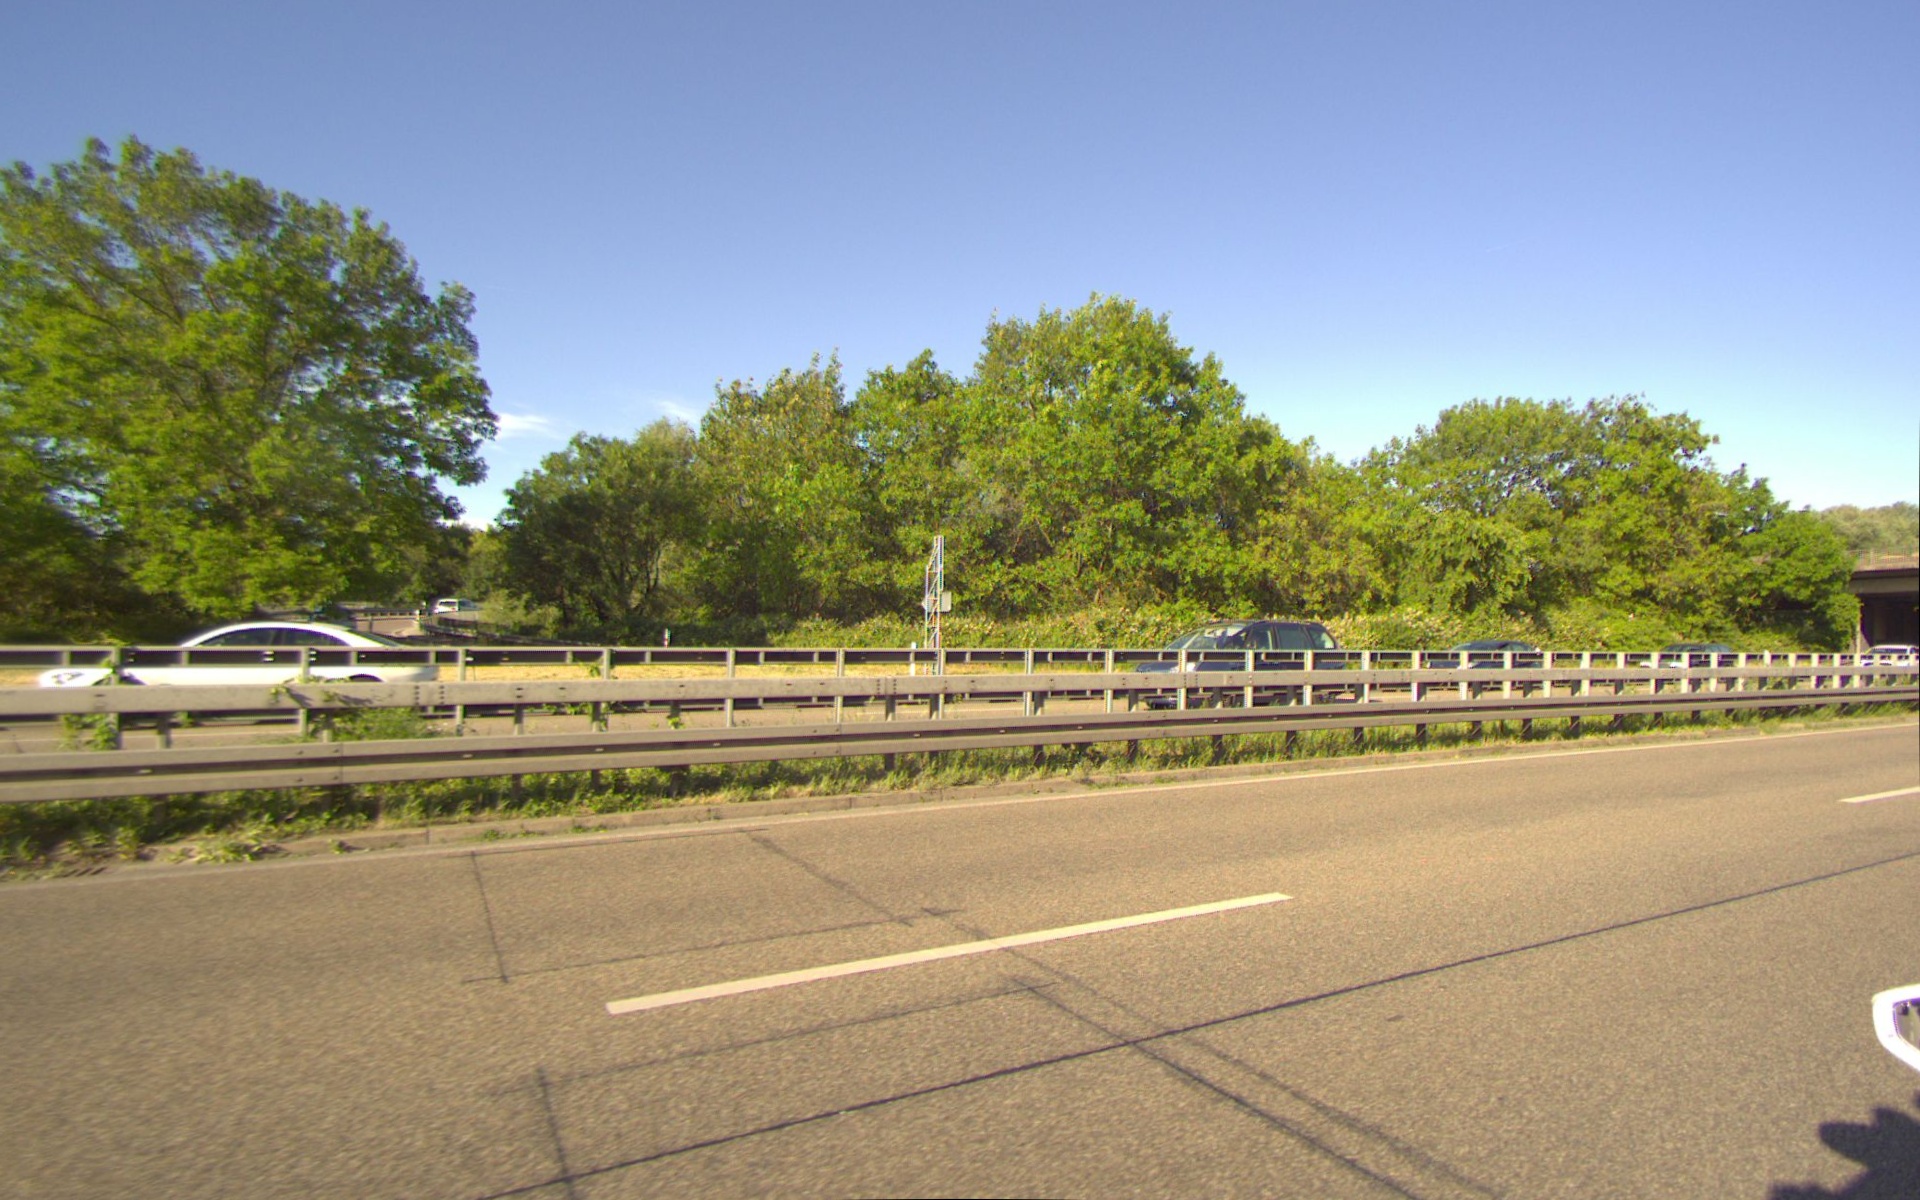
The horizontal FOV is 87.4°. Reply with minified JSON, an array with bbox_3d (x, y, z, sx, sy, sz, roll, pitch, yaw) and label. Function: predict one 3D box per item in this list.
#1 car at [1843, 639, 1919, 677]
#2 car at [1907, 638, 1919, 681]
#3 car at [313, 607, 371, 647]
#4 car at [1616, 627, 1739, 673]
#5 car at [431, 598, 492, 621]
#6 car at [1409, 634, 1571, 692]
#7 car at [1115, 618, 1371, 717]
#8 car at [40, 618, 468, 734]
[{"bbox_3d":[43.404,2.693,46.846,4.665,1.662,1.984,2,-1,-30],"label":"car"},{"bbox_3d":[40.018,2.355,40.075,4.666,1.662,1.985,2,-4,-30],"label":"car"},{"bbox_3d":[-30.096,1.305,48.853,1.982,1.828,4.671,2,-1,-37],"label":"car"},{"bbox_3d":[27.543,1.906,38.528,4.968,1.662,1.984,2,-1,-30],"label":"car"},{"bbox_3d":[-38.366,0.779,77.450,1.960,1.662,4.723,1,-1,6],"label":"car"},{"bbox_3d":[15.250,1.784,28.851,4.666,1.497,1.984,2,-1,-30],"label":"car"},{"bbox_3d":[5.382,1.213,18.972,4.666,1.662,1.984,2,-1,-30],"label":"car"},{"bbox_3d":[-9.902,1.025,14.626,4.774,1.433,1.984,2,-1,-30],"label":"car"}]
